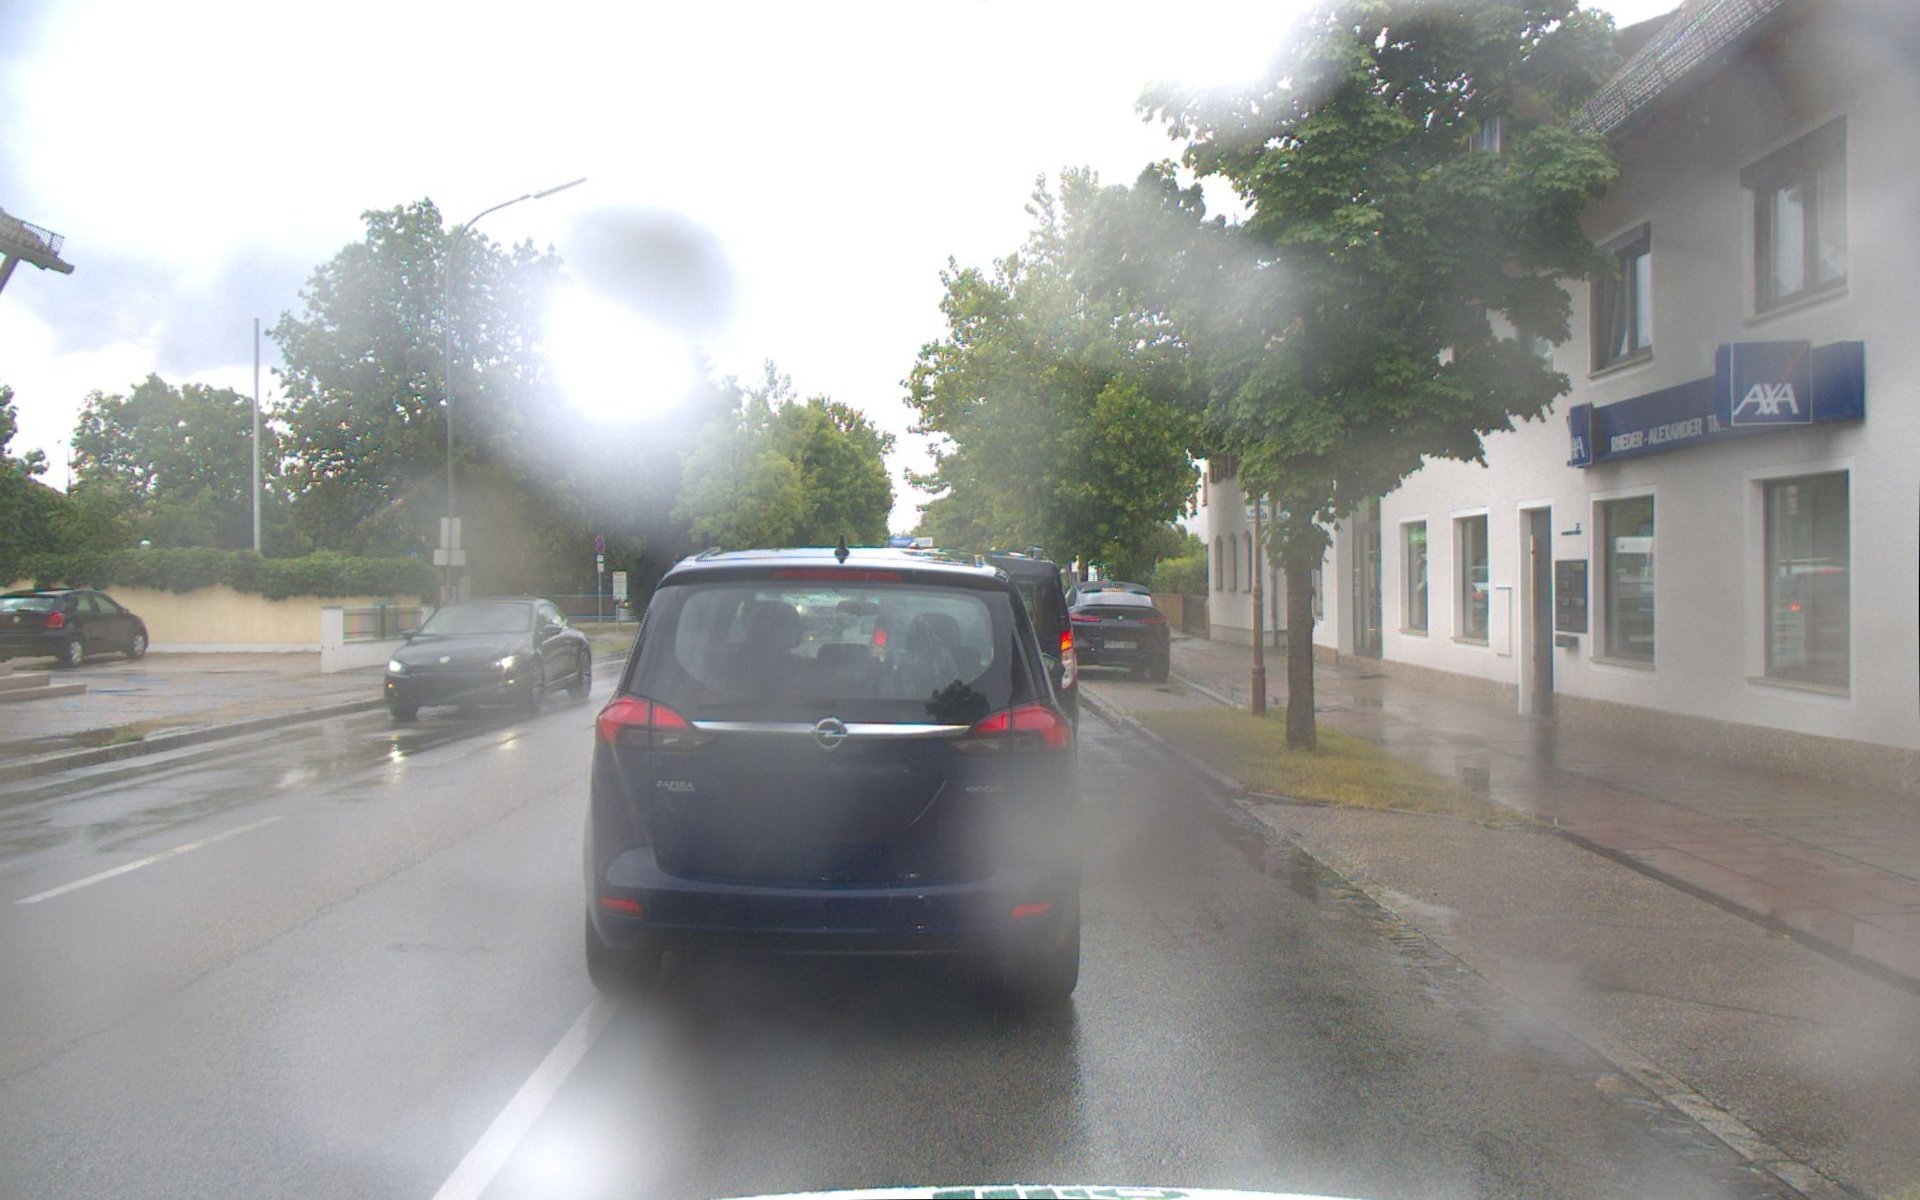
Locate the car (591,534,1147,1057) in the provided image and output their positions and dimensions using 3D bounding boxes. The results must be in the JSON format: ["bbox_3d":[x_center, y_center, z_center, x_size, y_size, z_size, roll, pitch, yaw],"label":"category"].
[{"bbox_3d":[-0.305,0.606,7.044,1.733,1.632,3.663,1,0,-1],"label":"car"}]

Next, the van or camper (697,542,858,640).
[{"bbox_3d":[-5.573,-0.276,49.657,2.077,2.754,6.189,-1,0,-35],"label":"van or camper"}]

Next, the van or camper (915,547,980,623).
[{"bbox_3d":[-0.485,-0.547,62.350,2.312,2.712,5.371,-1,0,-1],"label":"van or camper"}]

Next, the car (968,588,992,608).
[{"bbox_3d":[1.419,-0.155,117.843,1.597,1.402,3.622,1,0,-1],"label":"car"}]

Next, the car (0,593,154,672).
[{"bbox_3d":[-17.289,0.604,32.116,1.574,1.404,3.508,-2,0,-1],"label":"car"}]

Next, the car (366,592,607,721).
[{"bbox_3d":[-5.911,0.644,21.128,1.956,1.432,3.883,-2,0,-1],"label":"car"}]

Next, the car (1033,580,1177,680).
[{"bbox_3d":[2.450,0.486,28.990,2.074,1.609,3.934,1,0,-1],"label":"car"}]

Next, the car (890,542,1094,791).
[{"bbox_3d":[0.220,0.476,13.681,1.470,1.807,3.111,1,0,-1],"label":"car"}]

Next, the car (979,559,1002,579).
[{"bbox_3d":[2.349,-2.355,127.188,1.597,1.402,3.622,-2,0,-1],"label":"car"}]
